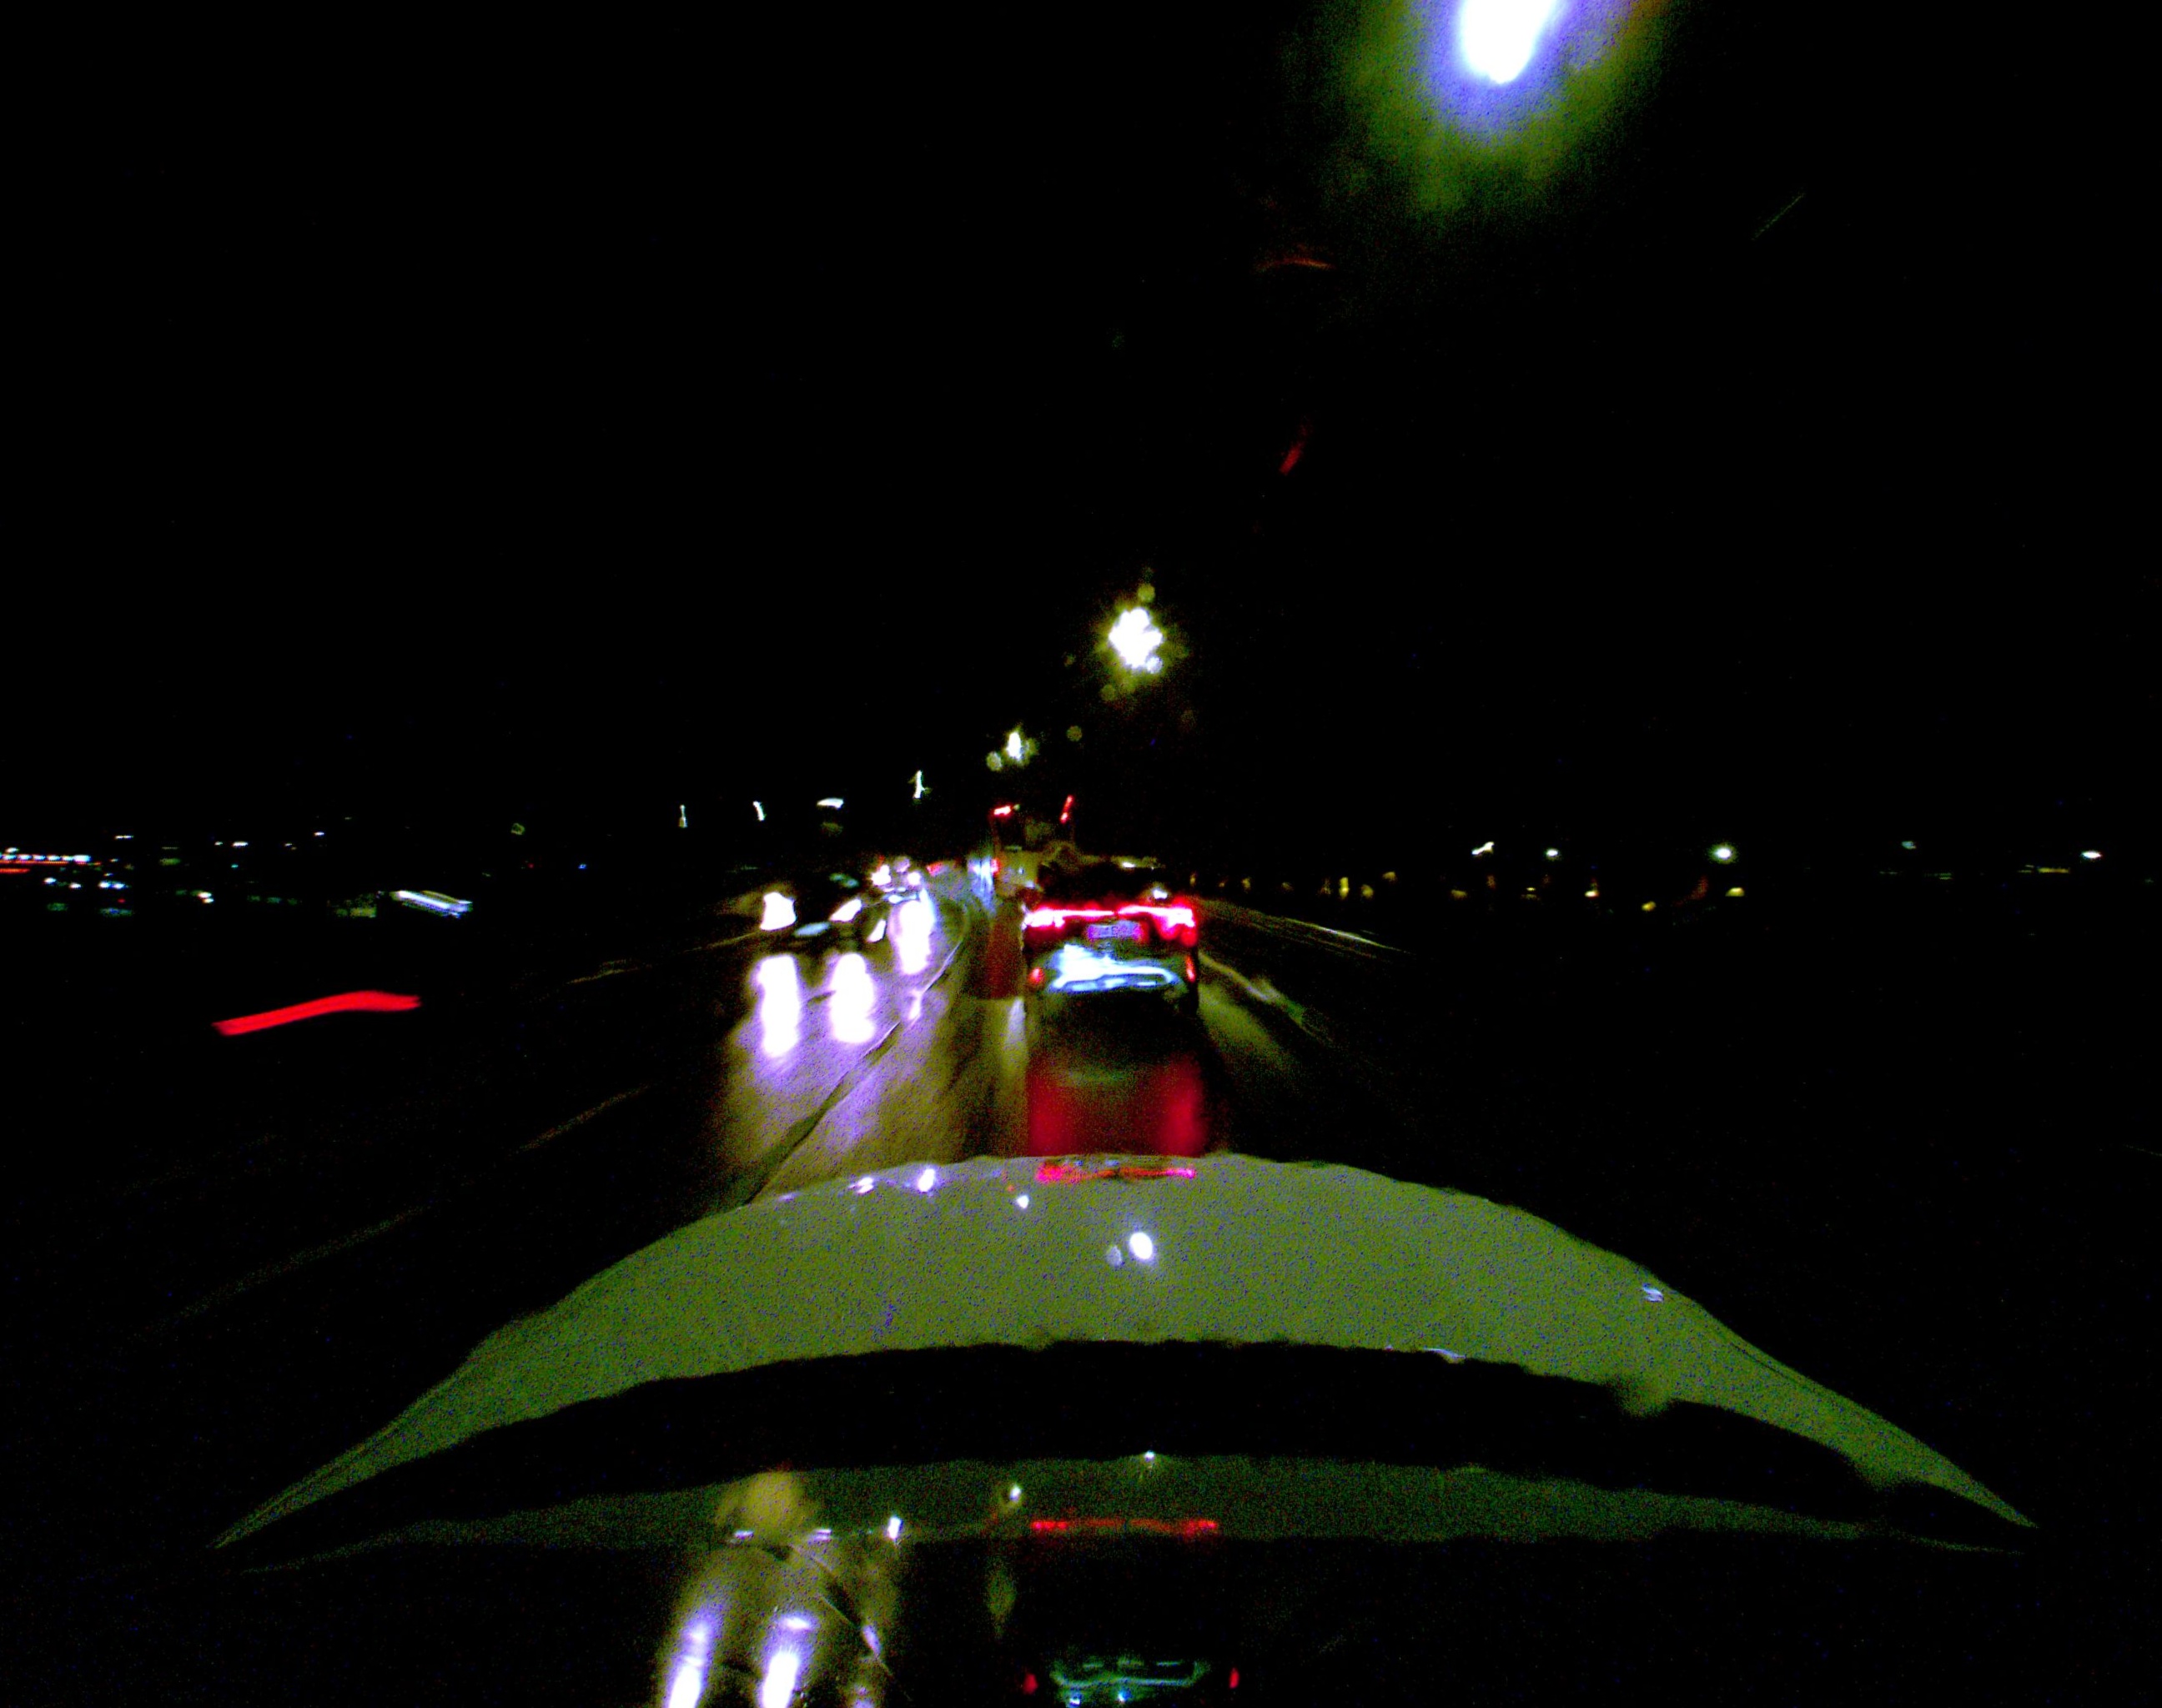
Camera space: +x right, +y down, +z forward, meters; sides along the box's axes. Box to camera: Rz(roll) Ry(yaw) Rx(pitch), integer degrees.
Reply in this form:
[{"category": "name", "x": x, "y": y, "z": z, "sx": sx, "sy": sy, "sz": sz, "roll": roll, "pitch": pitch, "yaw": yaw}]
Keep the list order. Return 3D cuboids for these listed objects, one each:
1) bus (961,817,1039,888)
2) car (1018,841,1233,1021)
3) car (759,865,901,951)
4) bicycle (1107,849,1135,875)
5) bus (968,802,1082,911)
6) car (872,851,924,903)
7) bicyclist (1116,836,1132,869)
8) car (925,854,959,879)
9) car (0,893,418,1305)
[{"category": "bus", "x": -4.180, "y": -0.095, "z": 40.198, "sx": 3.050, "sy": 3.131, "sz": 8.047, "roll": -1, "pitch": 0, "yaw": -11}, {"category": "car", "x": 0.261, "y": 0.699, "z": 9.268, "sx": 1.853, "sy": 1.586, "sz": 3.992, "roll": 0, "pitch": -1, "yaw": -6}, {"category": "car", "x": -4.892, "y": 0.973, "z": 16.454, "sx": 1.811, "sy": 1.404, "sz": 4.043, "roll": -1, "pitch": 0, "yaw": -4}, {"category": "bicycle", "x": 1.635, "y": 0.330, "z": 33.878, "sx": 0.485, "sy": 1.034, "sz": 2.160, "roll": 0, "pitch": -1, "yaw": -16}, {"category": "bus", "x": -2.476, "y": 0.050, "z": 30.036, "sx": 3.083, "sy": 3.132, "sz": 12.657, "roll": -1, "pitch": 0, "yaw": -9}, {"category": "car", "x": -7.180, "y": 0.853, "z": 32.224, "sx": 1.754, "sy": 1.861, "sz": 3.986, "roll": -2, "pitch": 0, "yaw": -10}, {"category": "bicyclist", "x": 1.756, "y": -0.046, "z": 33.466, "sx": 0.453, "sy": 1.349, "sz": 0.760, "roll": 1, "pitch": -1, "yaw": -15}, {"category": "car", "x": -10.086, "y": 0.922, "z": 58.985, "sx": 1.642, "sy": 1.655, "sz": 3.683, "roll": -3, "pitch": -1, "yaw": -21}, {"category": "car", "x": -4.664, "y": 0.883, "z": 2.420, "sx": 1.677, "sy": 1.391, "sz": 4.450, "roll": 1, "pitch": -1, "yaw": 0}]
